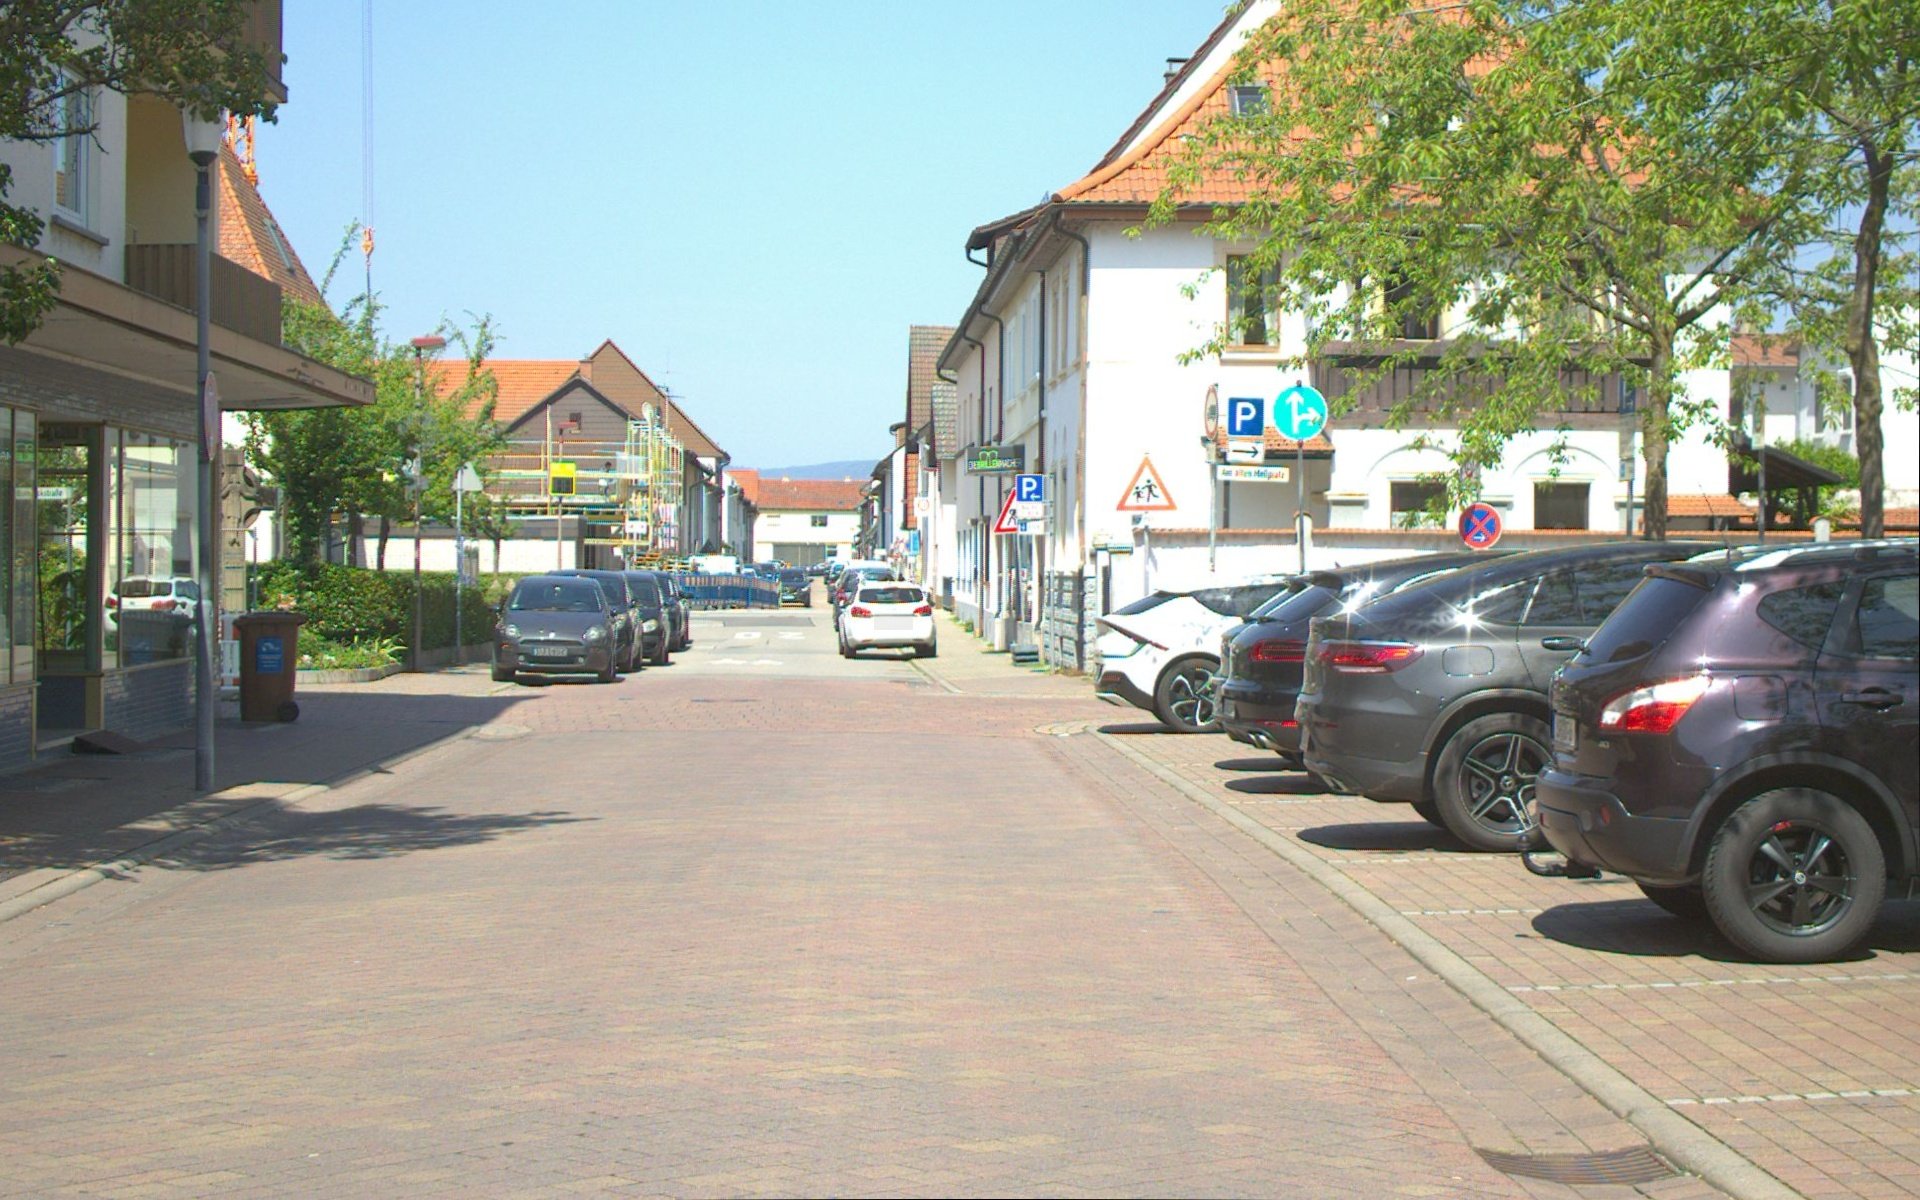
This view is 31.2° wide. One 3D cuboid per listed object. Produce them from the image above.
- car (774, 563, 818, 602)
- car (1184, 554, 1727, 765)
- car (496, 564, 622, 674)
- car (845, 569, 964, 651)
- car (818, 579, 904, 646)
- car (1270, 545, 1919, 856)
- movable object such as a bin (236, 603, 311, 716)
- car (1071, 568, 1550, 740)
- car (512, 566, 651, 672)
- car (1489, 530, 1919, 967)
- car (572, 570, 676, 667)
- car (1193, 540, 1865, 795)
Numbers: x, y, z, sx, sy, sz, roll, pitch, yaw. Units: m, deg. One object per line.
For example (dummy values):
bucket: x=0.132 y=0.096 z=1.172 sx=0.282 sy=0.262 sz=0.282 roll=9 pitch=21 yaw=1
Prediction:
car: x=-7.178 y=-0.773 z=150.114 sx=1.881 sy=1.662 sz=4.154 roll=1 pitch=0 yaw=-3
car: x=3.842 y=0.445 z=27.109 sx=3.943 sy=1.529 sz=1.824 roll=-1 pitch=0 yaw=-2
car: x=-5.707 y=0.248 z=49.263 sx=1.702 sy=1.491 sz=3.858 roll=1 pitch=0 yaw=-6
car: x=-1.055 y=0.180 z=67.831 sx=1.887 sy=1.536 sz=4.242 roll=1 pitch=0 yaw=5
car: x=-2.546 y=0.297 z=87.816 sx=1.884 sy=1.550 sz=3.895 roll=-3 pitch=1 yaw=-5
car: x=4.008 y=0.506 z=18.640 sx=4.508 sy=1.583 sz=1.850 roll=0 pitch=0 yaw=1
movable object such as a bin: x=-6.692 y=0.579 z=33.531 sx=0.655 sy=1.066 sz=0.664 roll=2 pitch=0 yaw=-8
car: x=3.423 y=0.514 z=34.029 sx=4.439 sy=1.570 sz=1.789 roll=1 pitch=0 yaw=-4
car: x=-6.022 y=0.274 z=55.071 sx=1.815 sy=1.599 sz=4.024 roll=1 pitch=0 yaw=-1
car: x=4.277 y=0.529 z=13.718 sx=4.026 sy=1.606 sz=1.681 roll=-1 pitch=0 yaw=-1
car: x=-5.907 y=0.306 z=60.752 sx=1.637 sy=1.623 sz=3.768 roll=1 pitch=1 yaw=-3
car: x=3.881 y=0.441 z=23.969 sx=4.278 sy=1.675 sz=2.001 roll=0 pitch=0 yaw=-3
